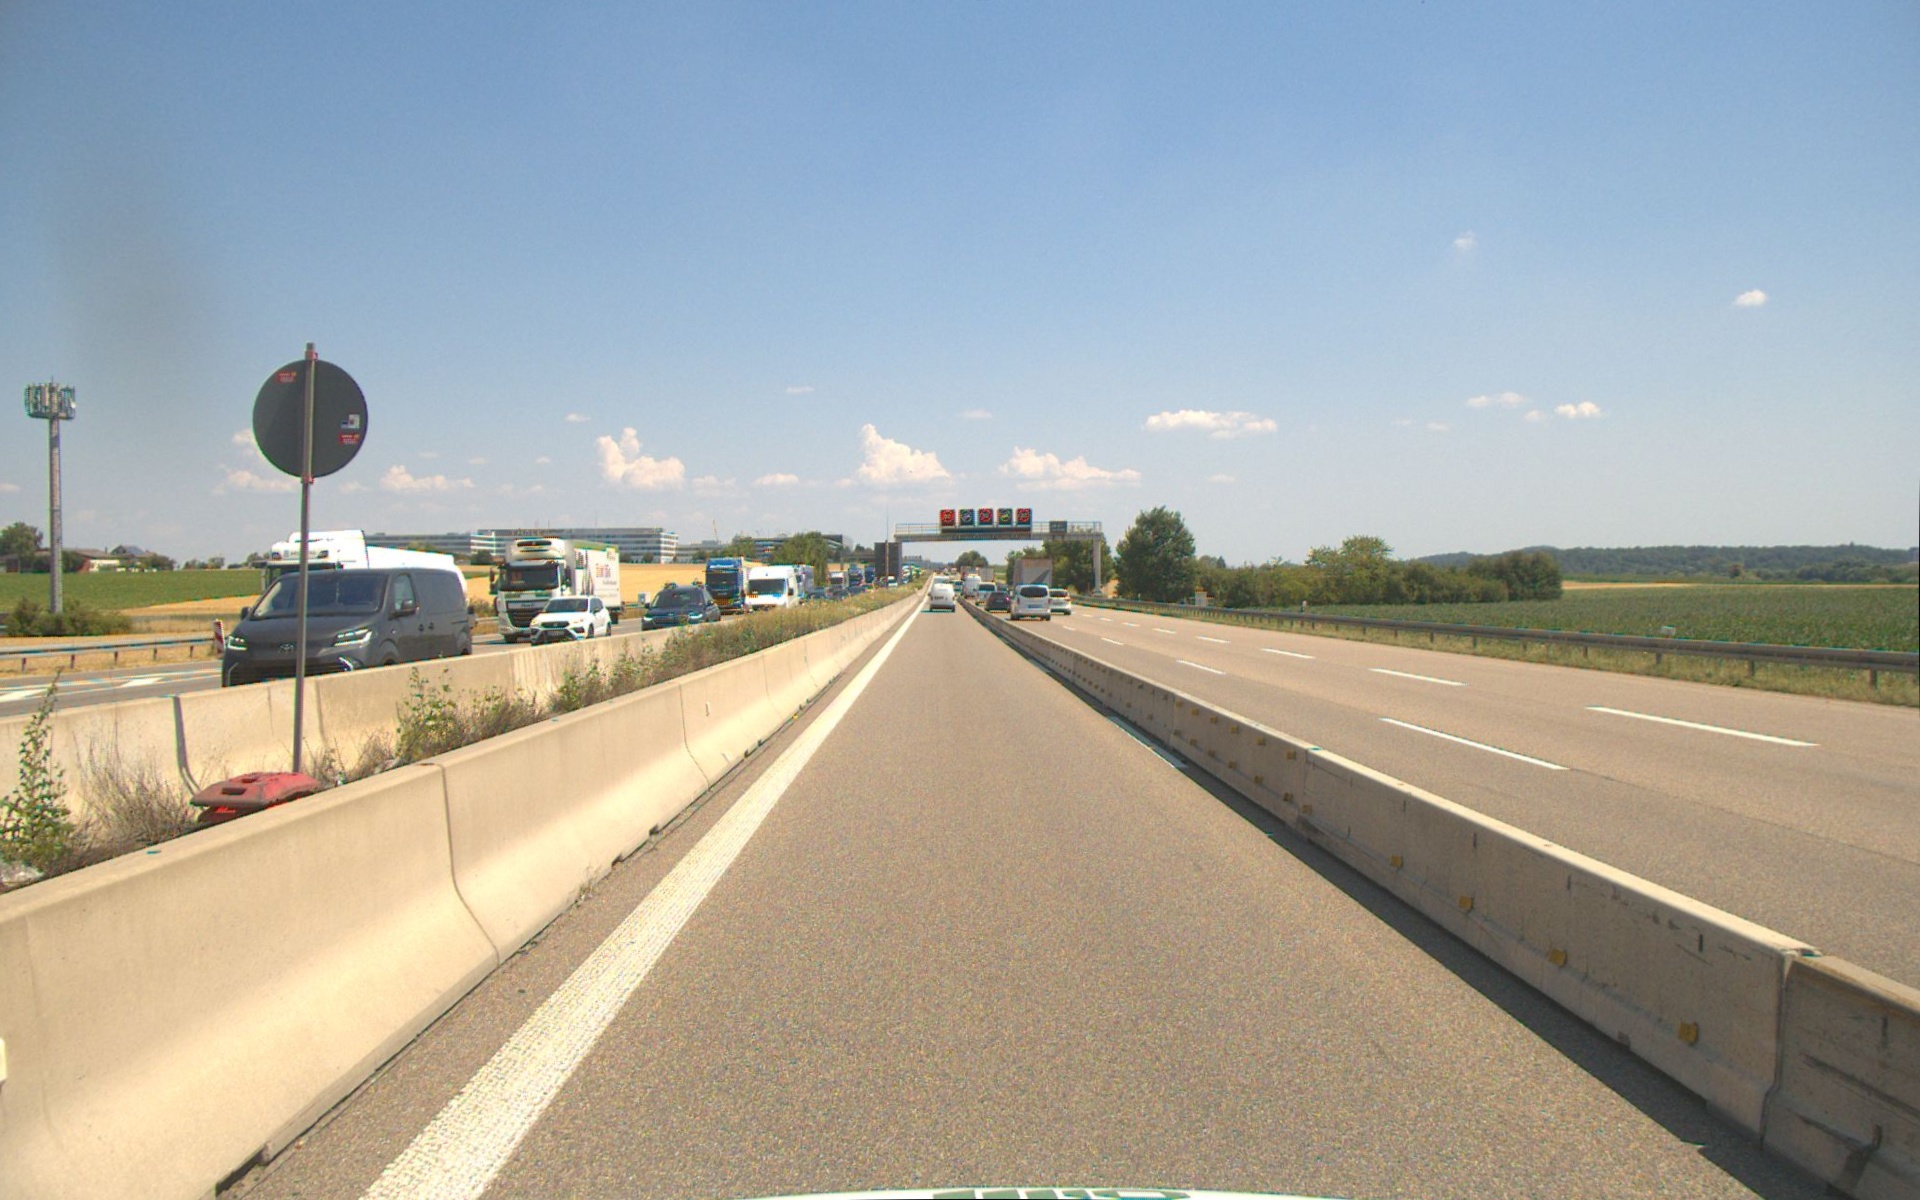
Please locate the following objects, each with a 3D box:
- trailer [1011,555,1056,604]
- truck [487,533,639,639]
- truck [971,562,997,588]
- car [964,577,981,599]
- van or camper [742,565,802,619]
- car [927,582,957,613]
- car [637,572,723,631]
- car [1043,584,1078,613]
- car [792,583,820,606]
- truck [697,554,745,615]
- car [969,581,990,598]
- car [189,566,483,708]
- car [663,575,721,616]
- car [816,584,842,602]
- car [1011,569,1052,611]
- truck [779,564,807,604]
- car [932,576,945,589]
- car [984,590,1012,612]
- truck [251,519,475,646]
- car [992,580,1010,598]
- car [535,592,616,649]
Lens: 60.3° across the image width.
[{"bbox_3d":[6.182,-1.660,140.087,3.211,4.036,9.110,0,0,-1],"label":"trailer"},{"bbox_3d":[-15.449,-0.552,65.630,2.738,3.672,13.287,-3,0,0],"label":"truck"},{"bbox_3d":[3.796,-4.023,265.179,3.738,3.973,9.578,-1,1,-1],"label":"truck"},{"bbox_3d":[1.415,-1.391,188.149,1.737,2.434,3.999,0,0,-1],"label":"car"},{"bbox_3d":[-8.417,-0.380,74.554,1.994,2.260,7.206,1,0,-1],"label":"van or camper"},{"bbox_3d":[-1.211,-0.178,110.906,1.953,2.049,3.999,0,0,-1],"label":"car"},{"bbox_3d":[-8.064,0.032,47.976,1.746,1.617,4.540,0,0,-1],"label":"car"},{"bbox_3d":[6.459,-0.071,106.312,1.953,1.825,3.999,0,0,-1],"label":"car"},{"bbox_3d":[-10.164,-0.379,109.371,1.565,1.494,4.532,-1,1,-1],"label":"car"},{"bbox_3d":[-17.012,-1.101,118.030,2.753,4.200,4.840,-1,1,-1],"label":"truck"},{"bbox_3d":[1.685,-0.926,145.978,1.737,1.472,3.999,0,0,-1],"label":"car"},{"bbox_3d":[-7.765,0.397,21.214,1.806,1.597,5.344,0,0,-1],"label":"car"},{"bbox_3d":[-11.985,-0.218,74.192,1.848,1.739,5.520,-2,1,-2],"label":"car"},{"bbox_3d":[-10.639,-0.579,134.631,1.743,1.358,4.928,1,-1,-1],"label":"car"},{"bbox_3d":[3.773,-0.504,88.076,1.953,2.157,3.999,0,0,-1],"label":"car"},{"bbox_3d":[-17.521,-1.679,173.723,2.362,4.158,4.659,-1,0,-1],"label":"truck"},{"bbox_3d":[-3.183,-2.615,248.549,1.953,1.867,3.999,0,0,-1],"label":"car"},{"bbox_3d":[2.552,0.063,111.452,1.737,1.472,3.999,0,0,-1],"label":"car"},{"bbox_3d":[-20.806,-0.610,58.898,2.839,3.842,13.290,-3,0,1],"label":"truck"},{"bbox_3d":[4.840,-1.290,195.695,1.953,2.049,3.999,0,0,-1],"label":"car"},{"bbox_3d":[-11.898,0.595,51.374,1.527,1.650,4.045,-1,1,1],"label":"car"}]
